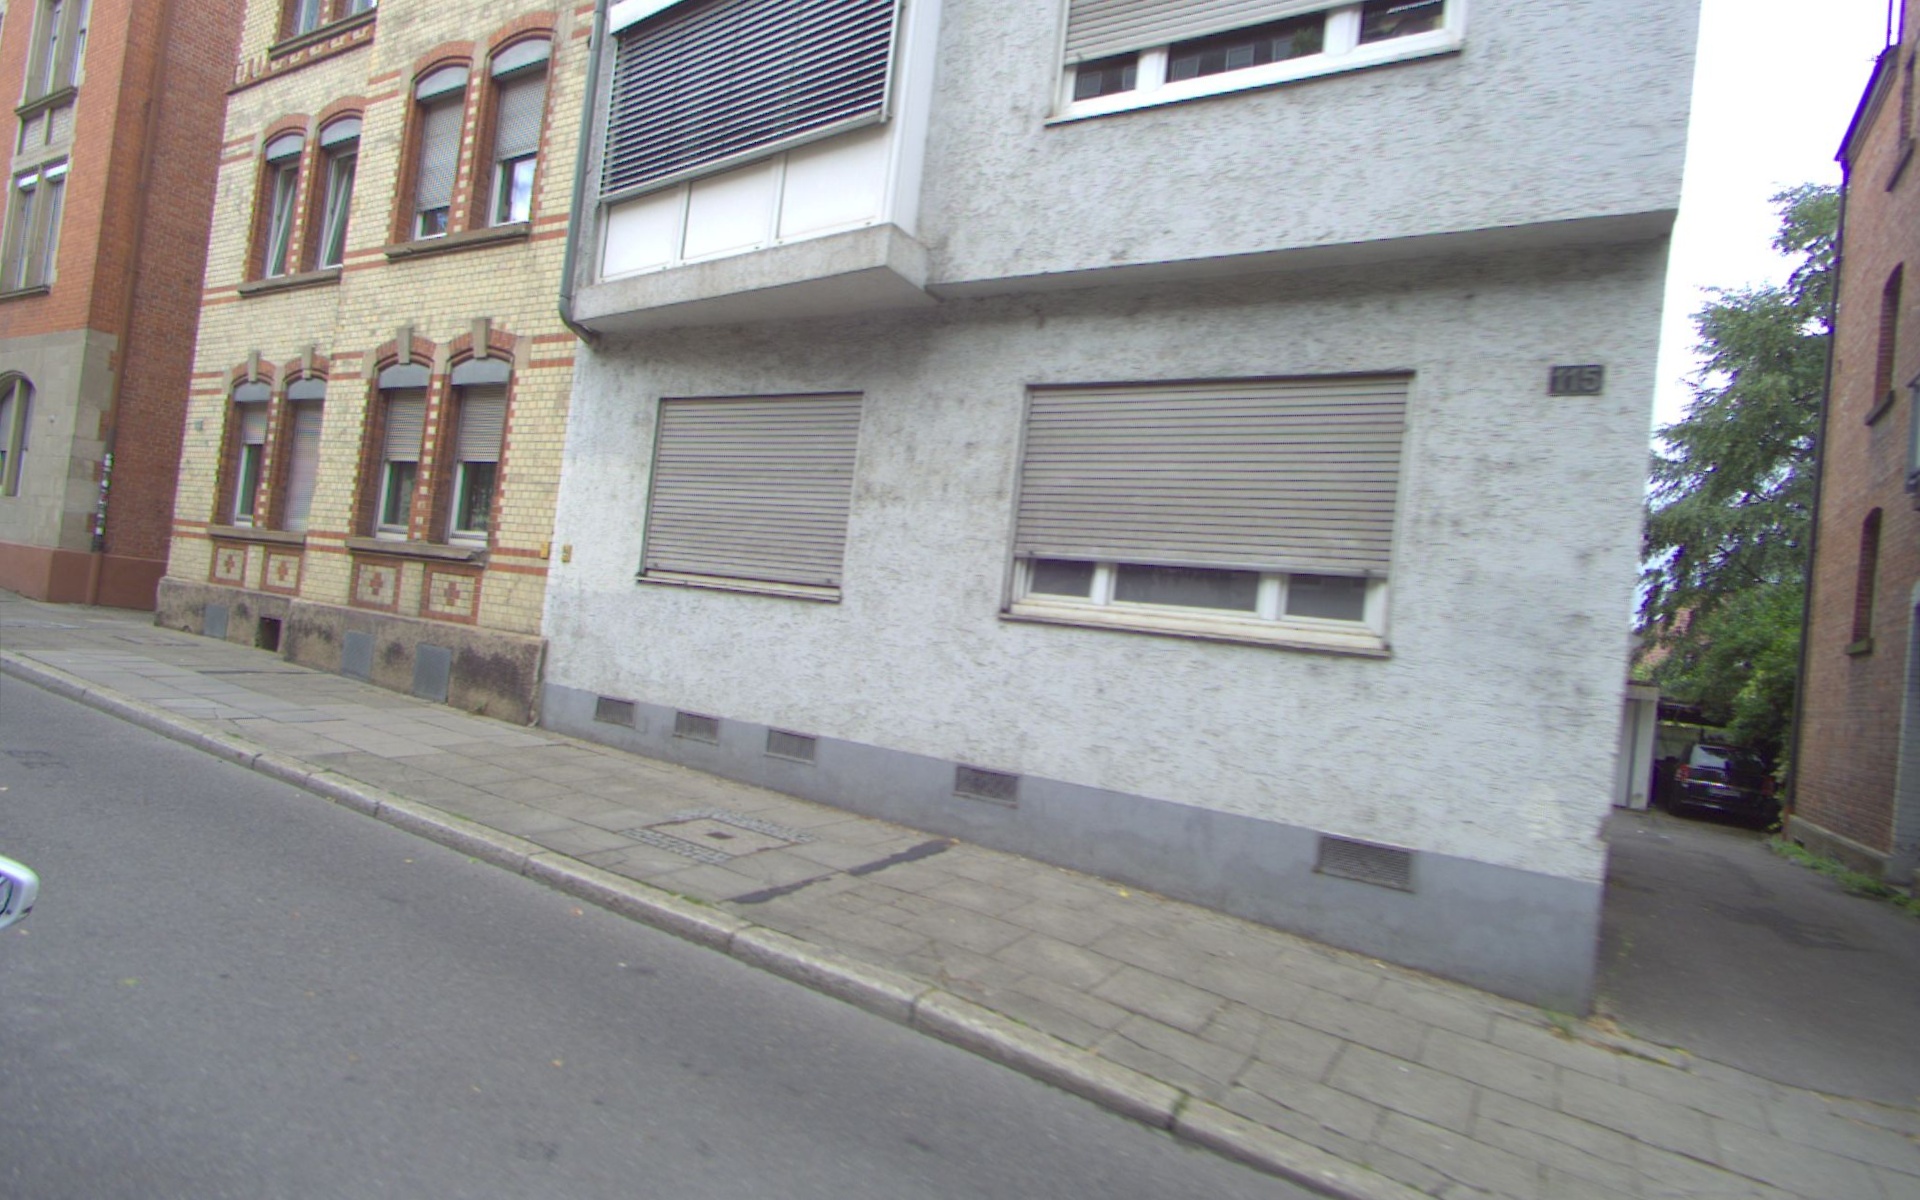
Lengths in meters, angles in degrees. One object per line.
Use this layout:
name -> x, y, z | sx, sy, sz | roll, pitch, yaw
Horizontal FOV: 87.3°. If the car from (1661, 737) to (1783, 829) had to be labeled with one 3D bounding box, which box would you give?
car -> 16.359, 3.835, 21.627 | 1.806, 1.493, 3.988 | 6, -2, 38
